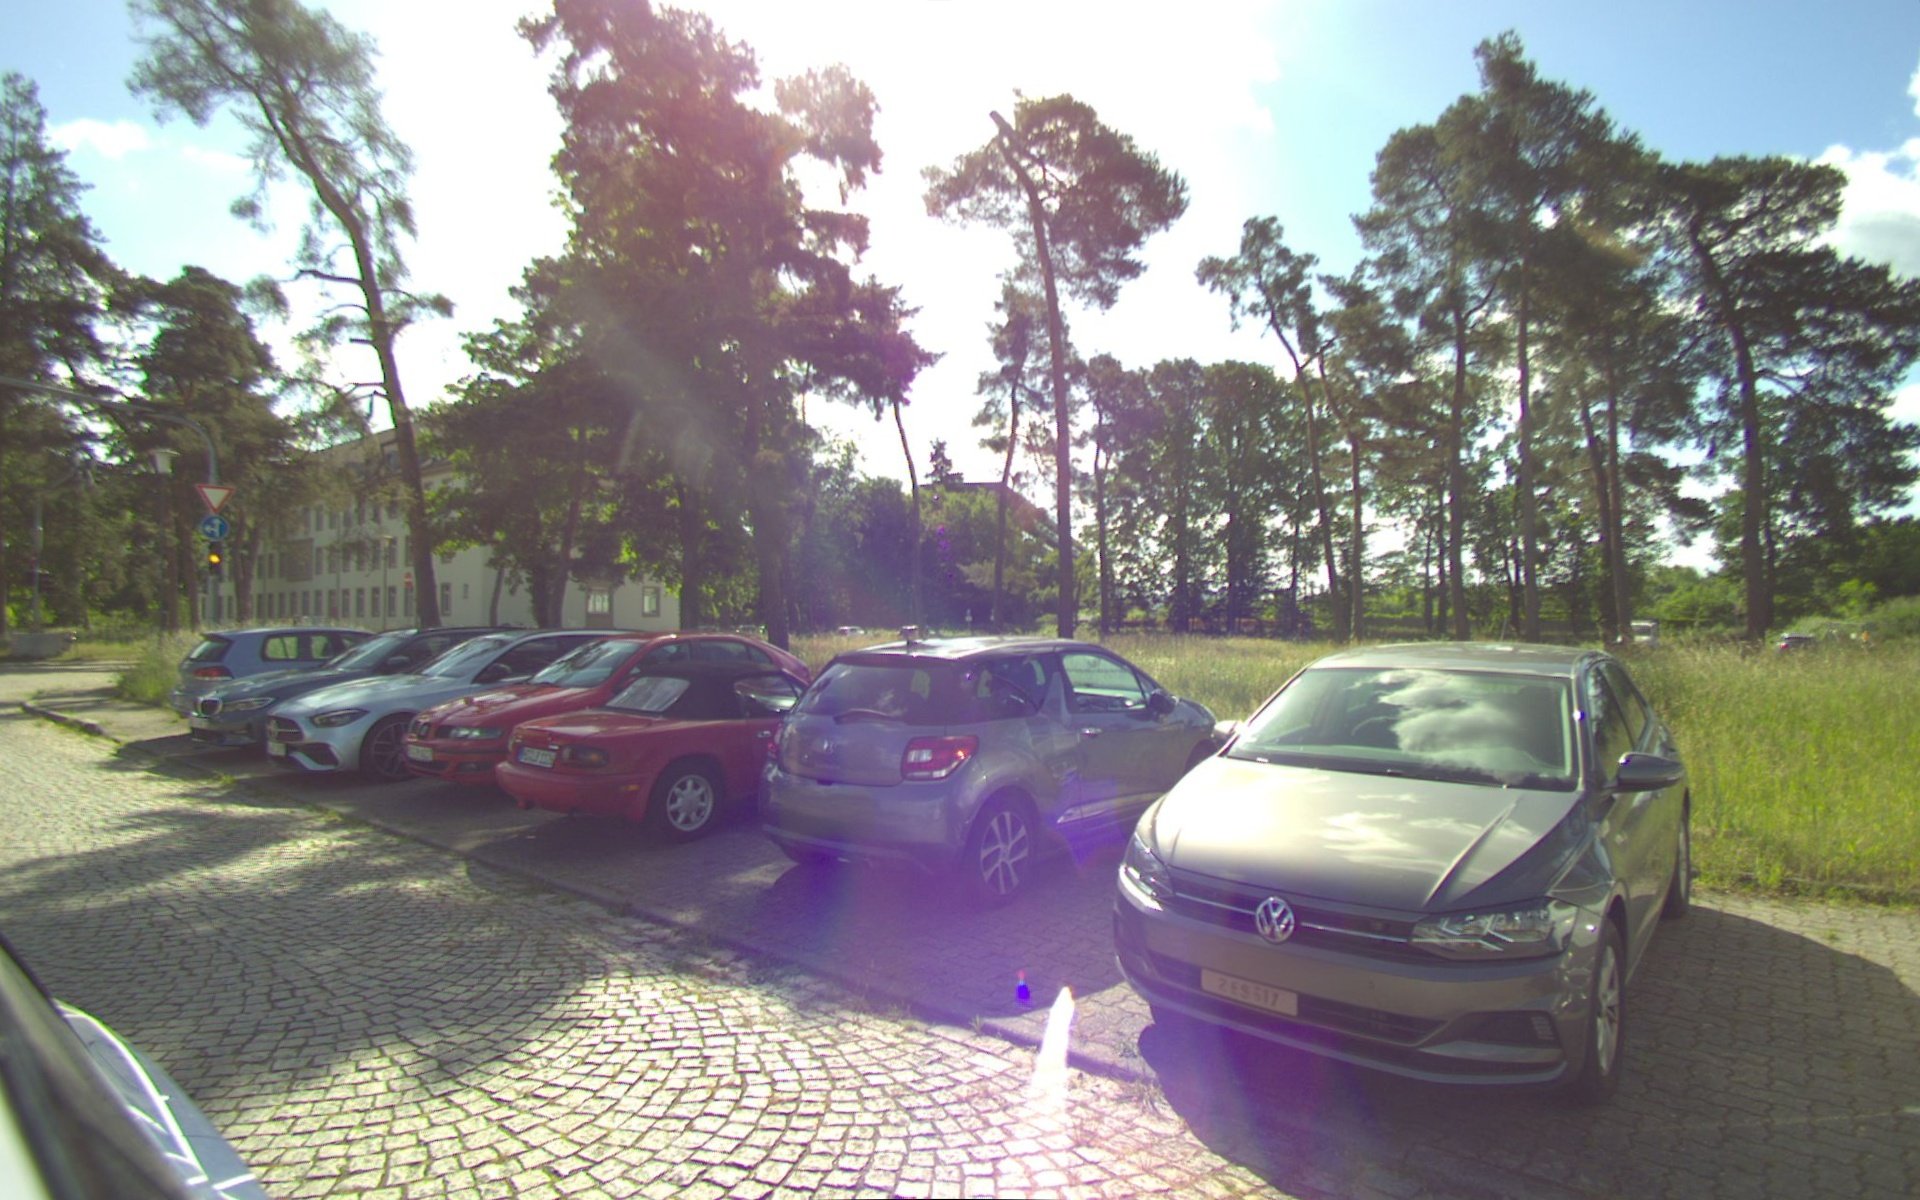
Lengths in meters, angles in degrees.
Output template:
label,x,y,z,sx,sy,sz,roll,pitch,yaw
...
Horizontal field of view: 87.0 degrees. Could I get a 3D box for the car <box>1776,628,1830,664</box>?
label,x,y,z,sx,sy,sz,roll,pitch,yaw
car,40.423,2.190,48.527,1.911,1.617,4.185,-1,-2,40

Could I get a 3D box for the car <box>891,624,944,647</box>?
label,x,y,z,sx,sy,sz,roll,pitch,yaw
car,-3.235,2.718,77.306,1.840,1.642,4.004,-1,-3,41

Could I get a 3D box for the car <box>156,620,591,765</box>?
label,x,y,z,sx,sy,sz,roll,pitch,yaw
car,-7.400,1.036,13.229,1.980,1.463,4.540,0,0,36

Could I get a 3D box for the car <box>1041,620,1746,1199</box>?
label,x,y,z,sx,sy,sz,roll,pitch,yaw
car,2.344,0.851,4.740,1.922,1.436,4.035,-1,-1,40

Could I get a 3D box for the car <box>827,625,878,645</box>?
label,x,y,z,sx,sy,sz,roll,pitch,yaw
car,-8.723,2.888,82.582,1.719,1.593,4.052,-1,-2,41

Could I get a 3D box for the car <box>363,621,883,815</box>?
label,x,y,z,sx,sy,sz,roll,pitch,yaw
car,-3.158,0.976,10.428,1.937,1.431,4.816,-1,0,40

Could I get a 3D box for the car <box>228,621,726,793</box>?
label,x,y,z,sx,sy,sz,roll,pitch,yaw
car,-5.227,1.011,11.594,1.937,1.431,4.816,0,0,40

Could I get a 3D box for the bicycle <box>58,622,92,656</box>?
label,x,y,z,sx,sy,sz,roll,pitch,yaw
bicycle,-35.336,1.541,40.396,2.112,1.293,0.613,-1,1,38

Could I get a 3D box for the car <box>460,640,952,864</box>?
label,x,y,z,sx,sy,sz,roll,pitch,yaw
car,-1.896,1.033,8.319,1.759,1.243,3.593,0,0,40

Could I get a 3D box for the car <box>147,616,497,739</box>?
label,x,y,z,sx,sy,sz,roll,pitch,yaw
car,-9.311,1.034,15.030,1.946,1.494,3.988,-2,-1,38

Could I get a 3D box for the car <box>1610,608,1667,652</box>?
label,x,y,z,sx,sy,sz,roll,pitch,yaw
car,35.274,1.582,52.561,1.956,2.180,4.796,-1,-2,40

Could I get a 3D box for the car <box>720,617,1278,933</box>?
label,x,y,z,sx,sy,sz,roll,pitch,yaw
car,0.533,0.889,7.081,1.821,1.463,4.035,0,0,40
